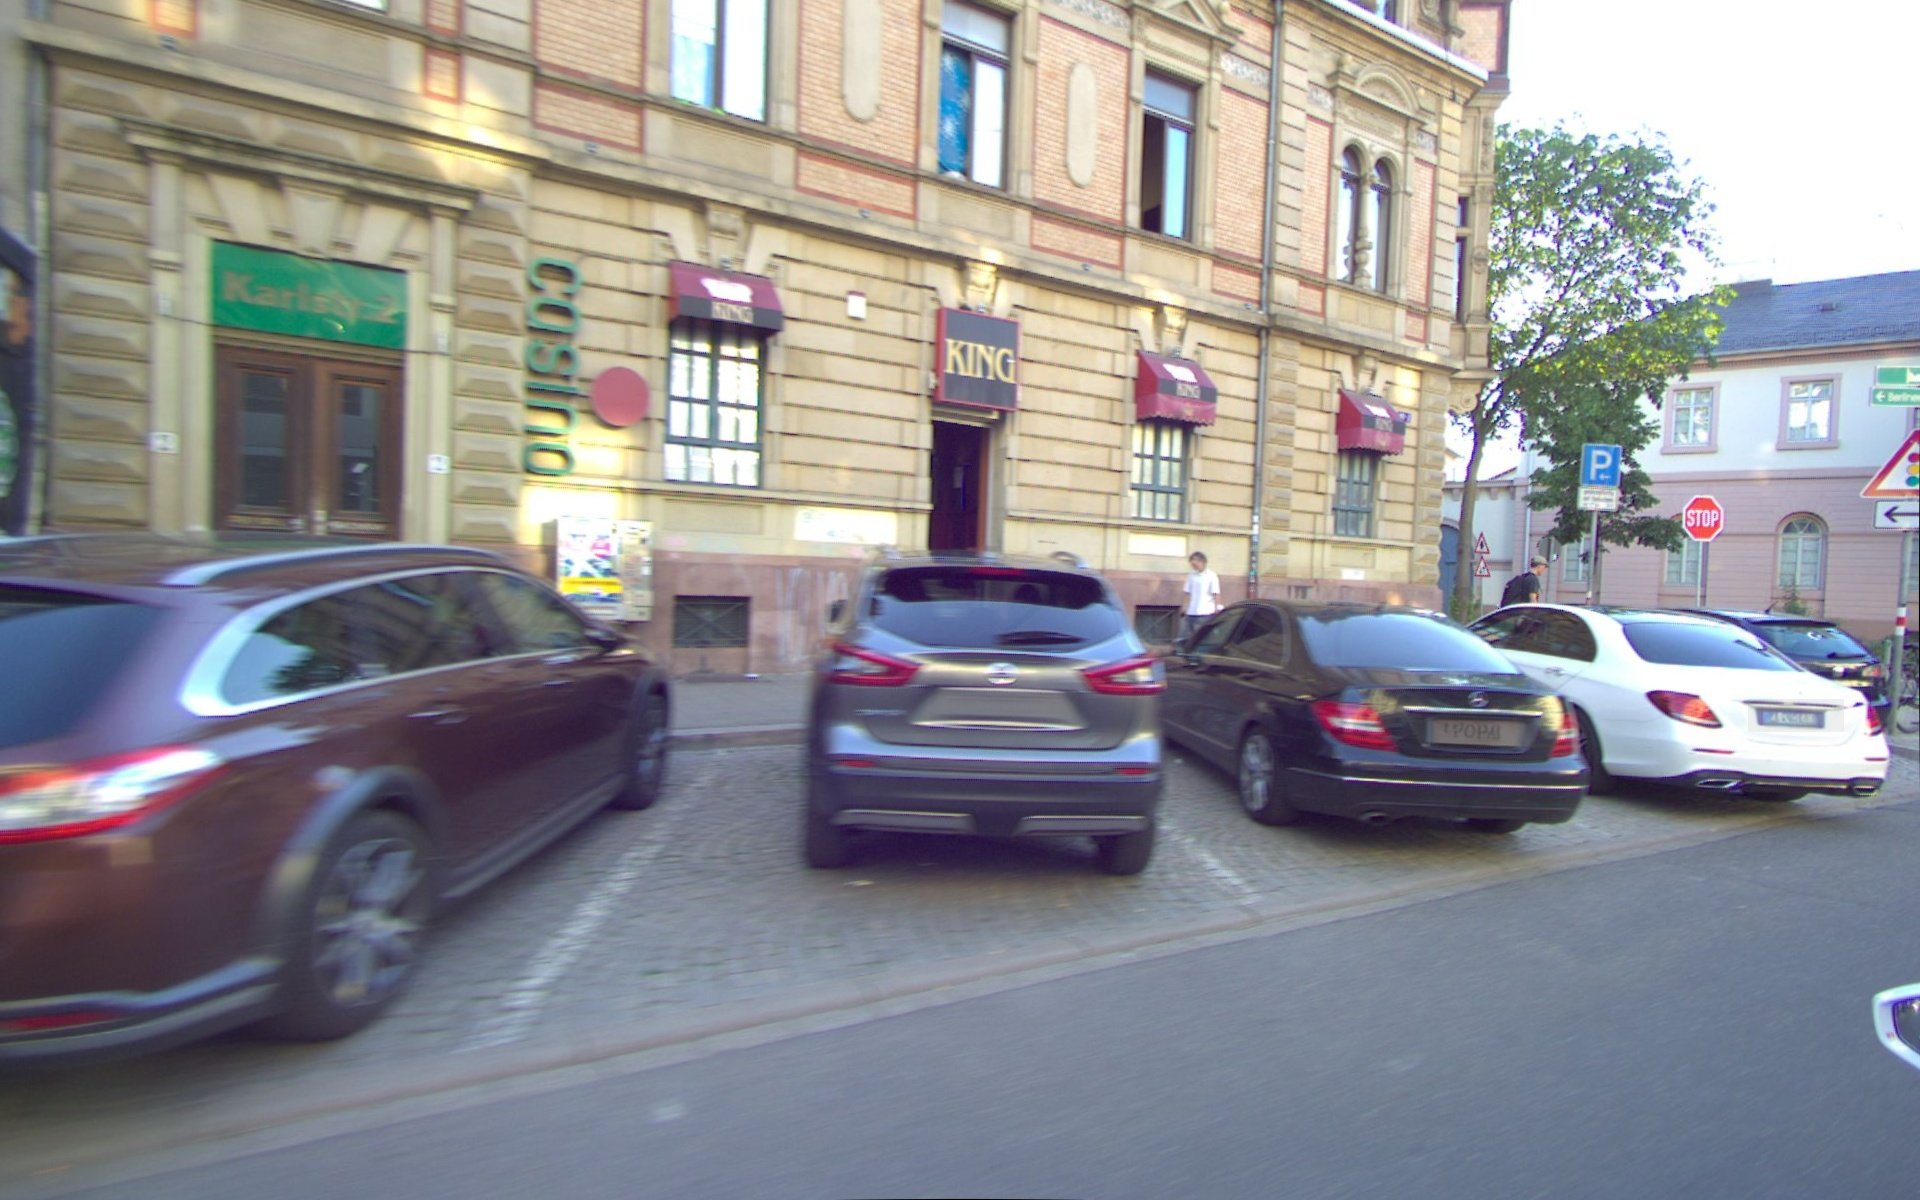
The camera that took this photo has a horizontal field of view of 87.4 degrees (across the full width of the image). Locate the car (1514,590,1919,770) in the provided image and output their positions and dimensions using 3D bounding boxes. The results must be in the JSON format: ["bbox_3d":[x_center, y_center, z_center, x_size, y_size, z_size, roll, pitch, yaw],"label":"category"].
[{"bbox_3d":[8.496,0.764,11.607,1.708,1.481,3.858,2,4,-6],"label":"car"}]

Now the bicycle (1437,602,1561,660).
[{"bbox_3d":[13.298,0.733,24.865,0.838,1.284,2.545,0,2,-37],"label":"bicycle"}]

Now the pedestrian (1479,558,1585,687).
[{"bbox_3d":[8.161,0.287,14.347,1.244,1.762,0.849,1,2,32],"label":"pedestrian"}]

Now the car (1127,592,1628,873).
[{"bbox_3d":[2.587,0.699,7.467,1.678,1.467,4.248,1,1,-4],"label":"car"}]

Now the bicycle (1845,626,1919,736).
[{"bbox_3d":[11.300,0.928,11.669,1.777,1.141,0.724,2,4,-22],"label":"bicycle"}]

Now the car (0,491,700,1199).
[{"bbox_3d":[-2.545,0.500,4.262,1.677,1.569,4.296,2,1,1],"label":"car"}]

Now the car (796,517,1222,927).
[{"bbox_3d":[0.066,0.496,6.202,1.759,1.679,4.048,1,1,-4],"label":"car"}]

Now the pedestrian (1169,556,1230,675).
[{"bbox_3d":[3.374,0.208,14.176,0.515,1.630,0.574,1,3,-29],"label":"pedestrian"}]

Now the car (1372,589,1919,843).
[{"bbox_3d":[5.671,0.775,9.171,1.734,1.532,4.626,2,3,-2],"label":"car"}]
